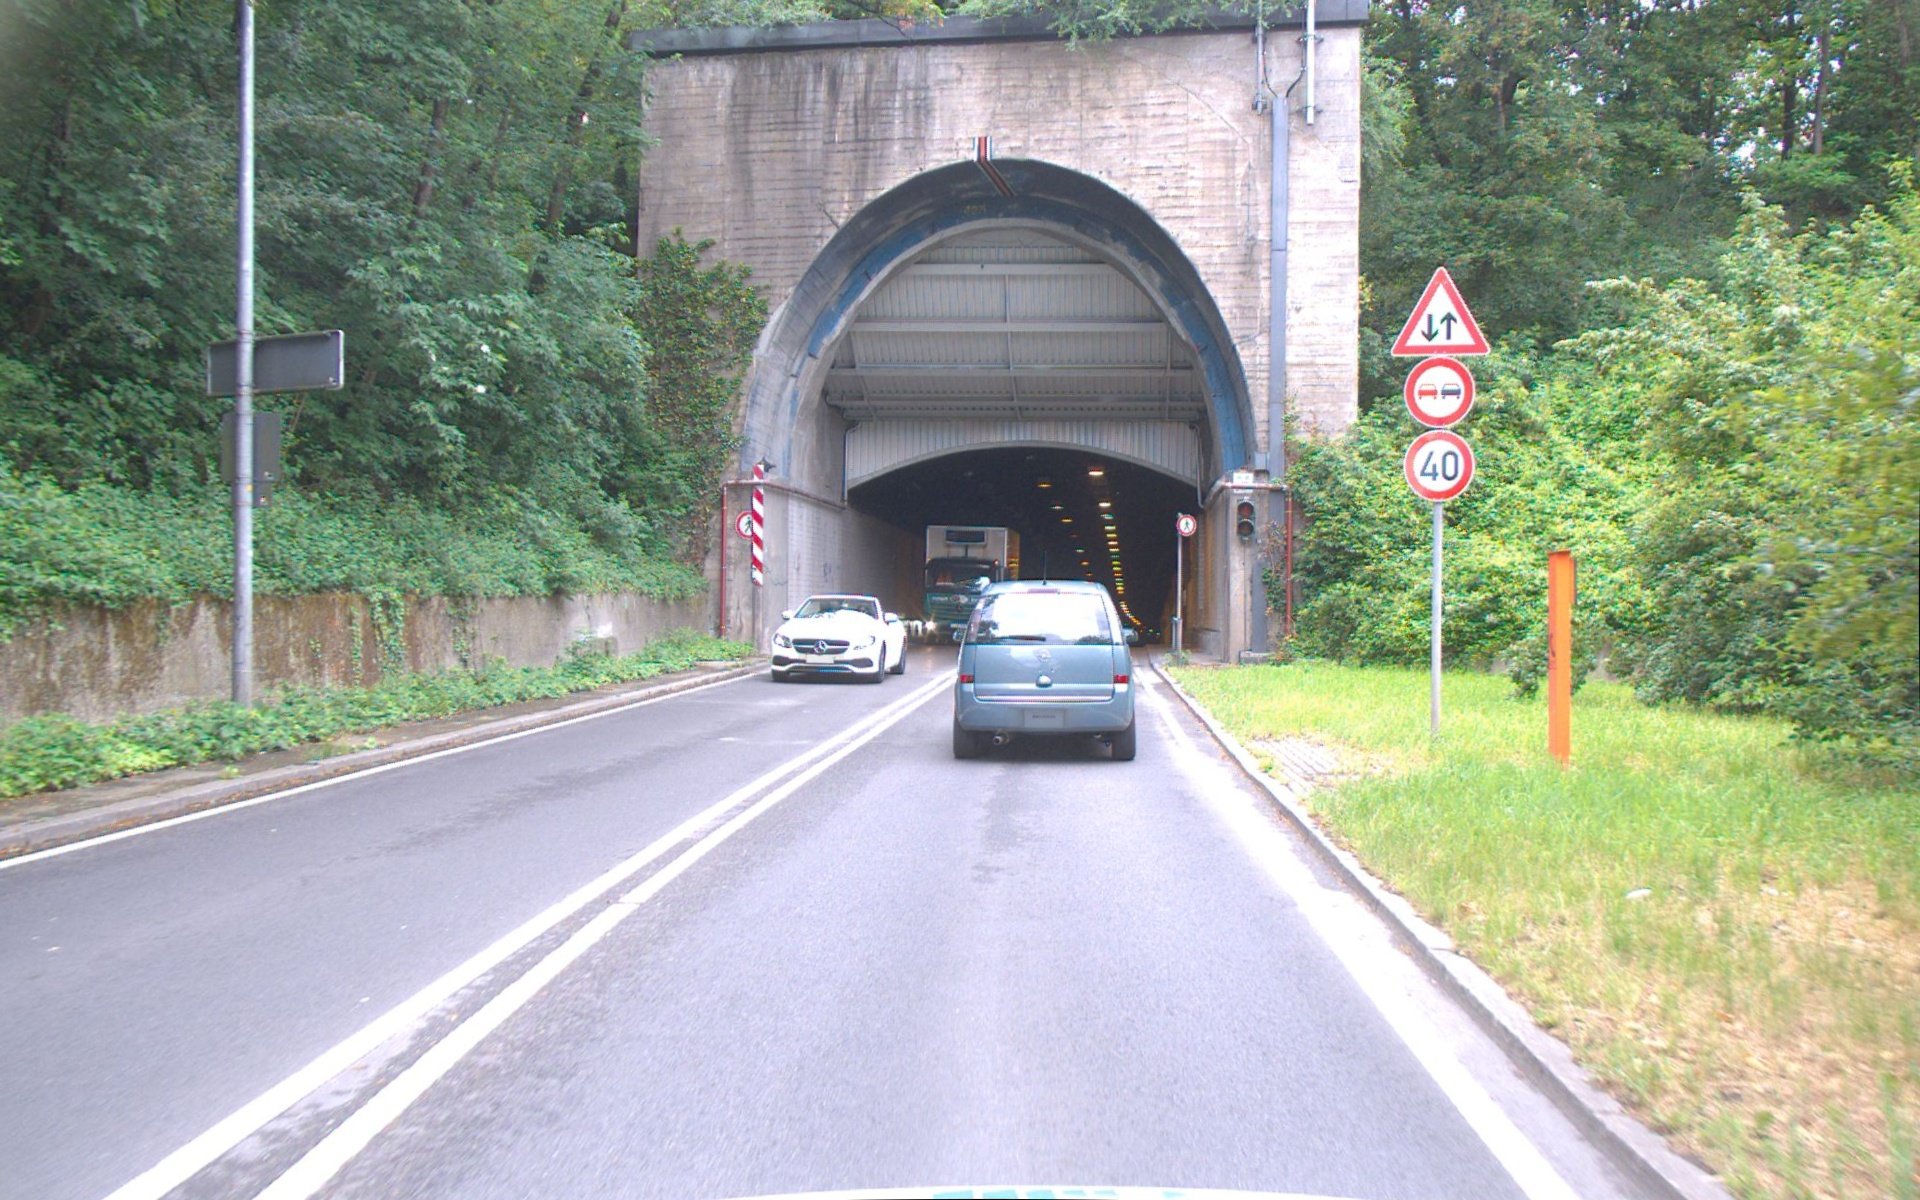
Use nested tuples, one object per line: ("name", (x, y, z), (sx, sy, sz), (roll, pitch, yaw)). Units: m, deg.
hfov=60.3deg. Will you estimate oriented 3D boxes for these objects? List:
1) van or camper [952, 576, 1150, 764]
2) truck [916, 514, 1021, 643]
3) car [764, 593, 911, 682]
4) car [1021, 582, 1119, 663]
("van or camper", (0.921, 0.599, 16.069), (1.699, 1.605, 3.648), (0, 0, 4))
("truck", (0.385, -0.630, 52.152), (2.619, 3.731, 7.522), (1, 0, 5))
("car", (-1.989, 0.581, 28.178), (1.829, 1.395, 4.458), (0, 0, 4))
("car", (2.558, 0.469, 37.615), (1.951, 1.682, 4.004), (0, 1, 7))
